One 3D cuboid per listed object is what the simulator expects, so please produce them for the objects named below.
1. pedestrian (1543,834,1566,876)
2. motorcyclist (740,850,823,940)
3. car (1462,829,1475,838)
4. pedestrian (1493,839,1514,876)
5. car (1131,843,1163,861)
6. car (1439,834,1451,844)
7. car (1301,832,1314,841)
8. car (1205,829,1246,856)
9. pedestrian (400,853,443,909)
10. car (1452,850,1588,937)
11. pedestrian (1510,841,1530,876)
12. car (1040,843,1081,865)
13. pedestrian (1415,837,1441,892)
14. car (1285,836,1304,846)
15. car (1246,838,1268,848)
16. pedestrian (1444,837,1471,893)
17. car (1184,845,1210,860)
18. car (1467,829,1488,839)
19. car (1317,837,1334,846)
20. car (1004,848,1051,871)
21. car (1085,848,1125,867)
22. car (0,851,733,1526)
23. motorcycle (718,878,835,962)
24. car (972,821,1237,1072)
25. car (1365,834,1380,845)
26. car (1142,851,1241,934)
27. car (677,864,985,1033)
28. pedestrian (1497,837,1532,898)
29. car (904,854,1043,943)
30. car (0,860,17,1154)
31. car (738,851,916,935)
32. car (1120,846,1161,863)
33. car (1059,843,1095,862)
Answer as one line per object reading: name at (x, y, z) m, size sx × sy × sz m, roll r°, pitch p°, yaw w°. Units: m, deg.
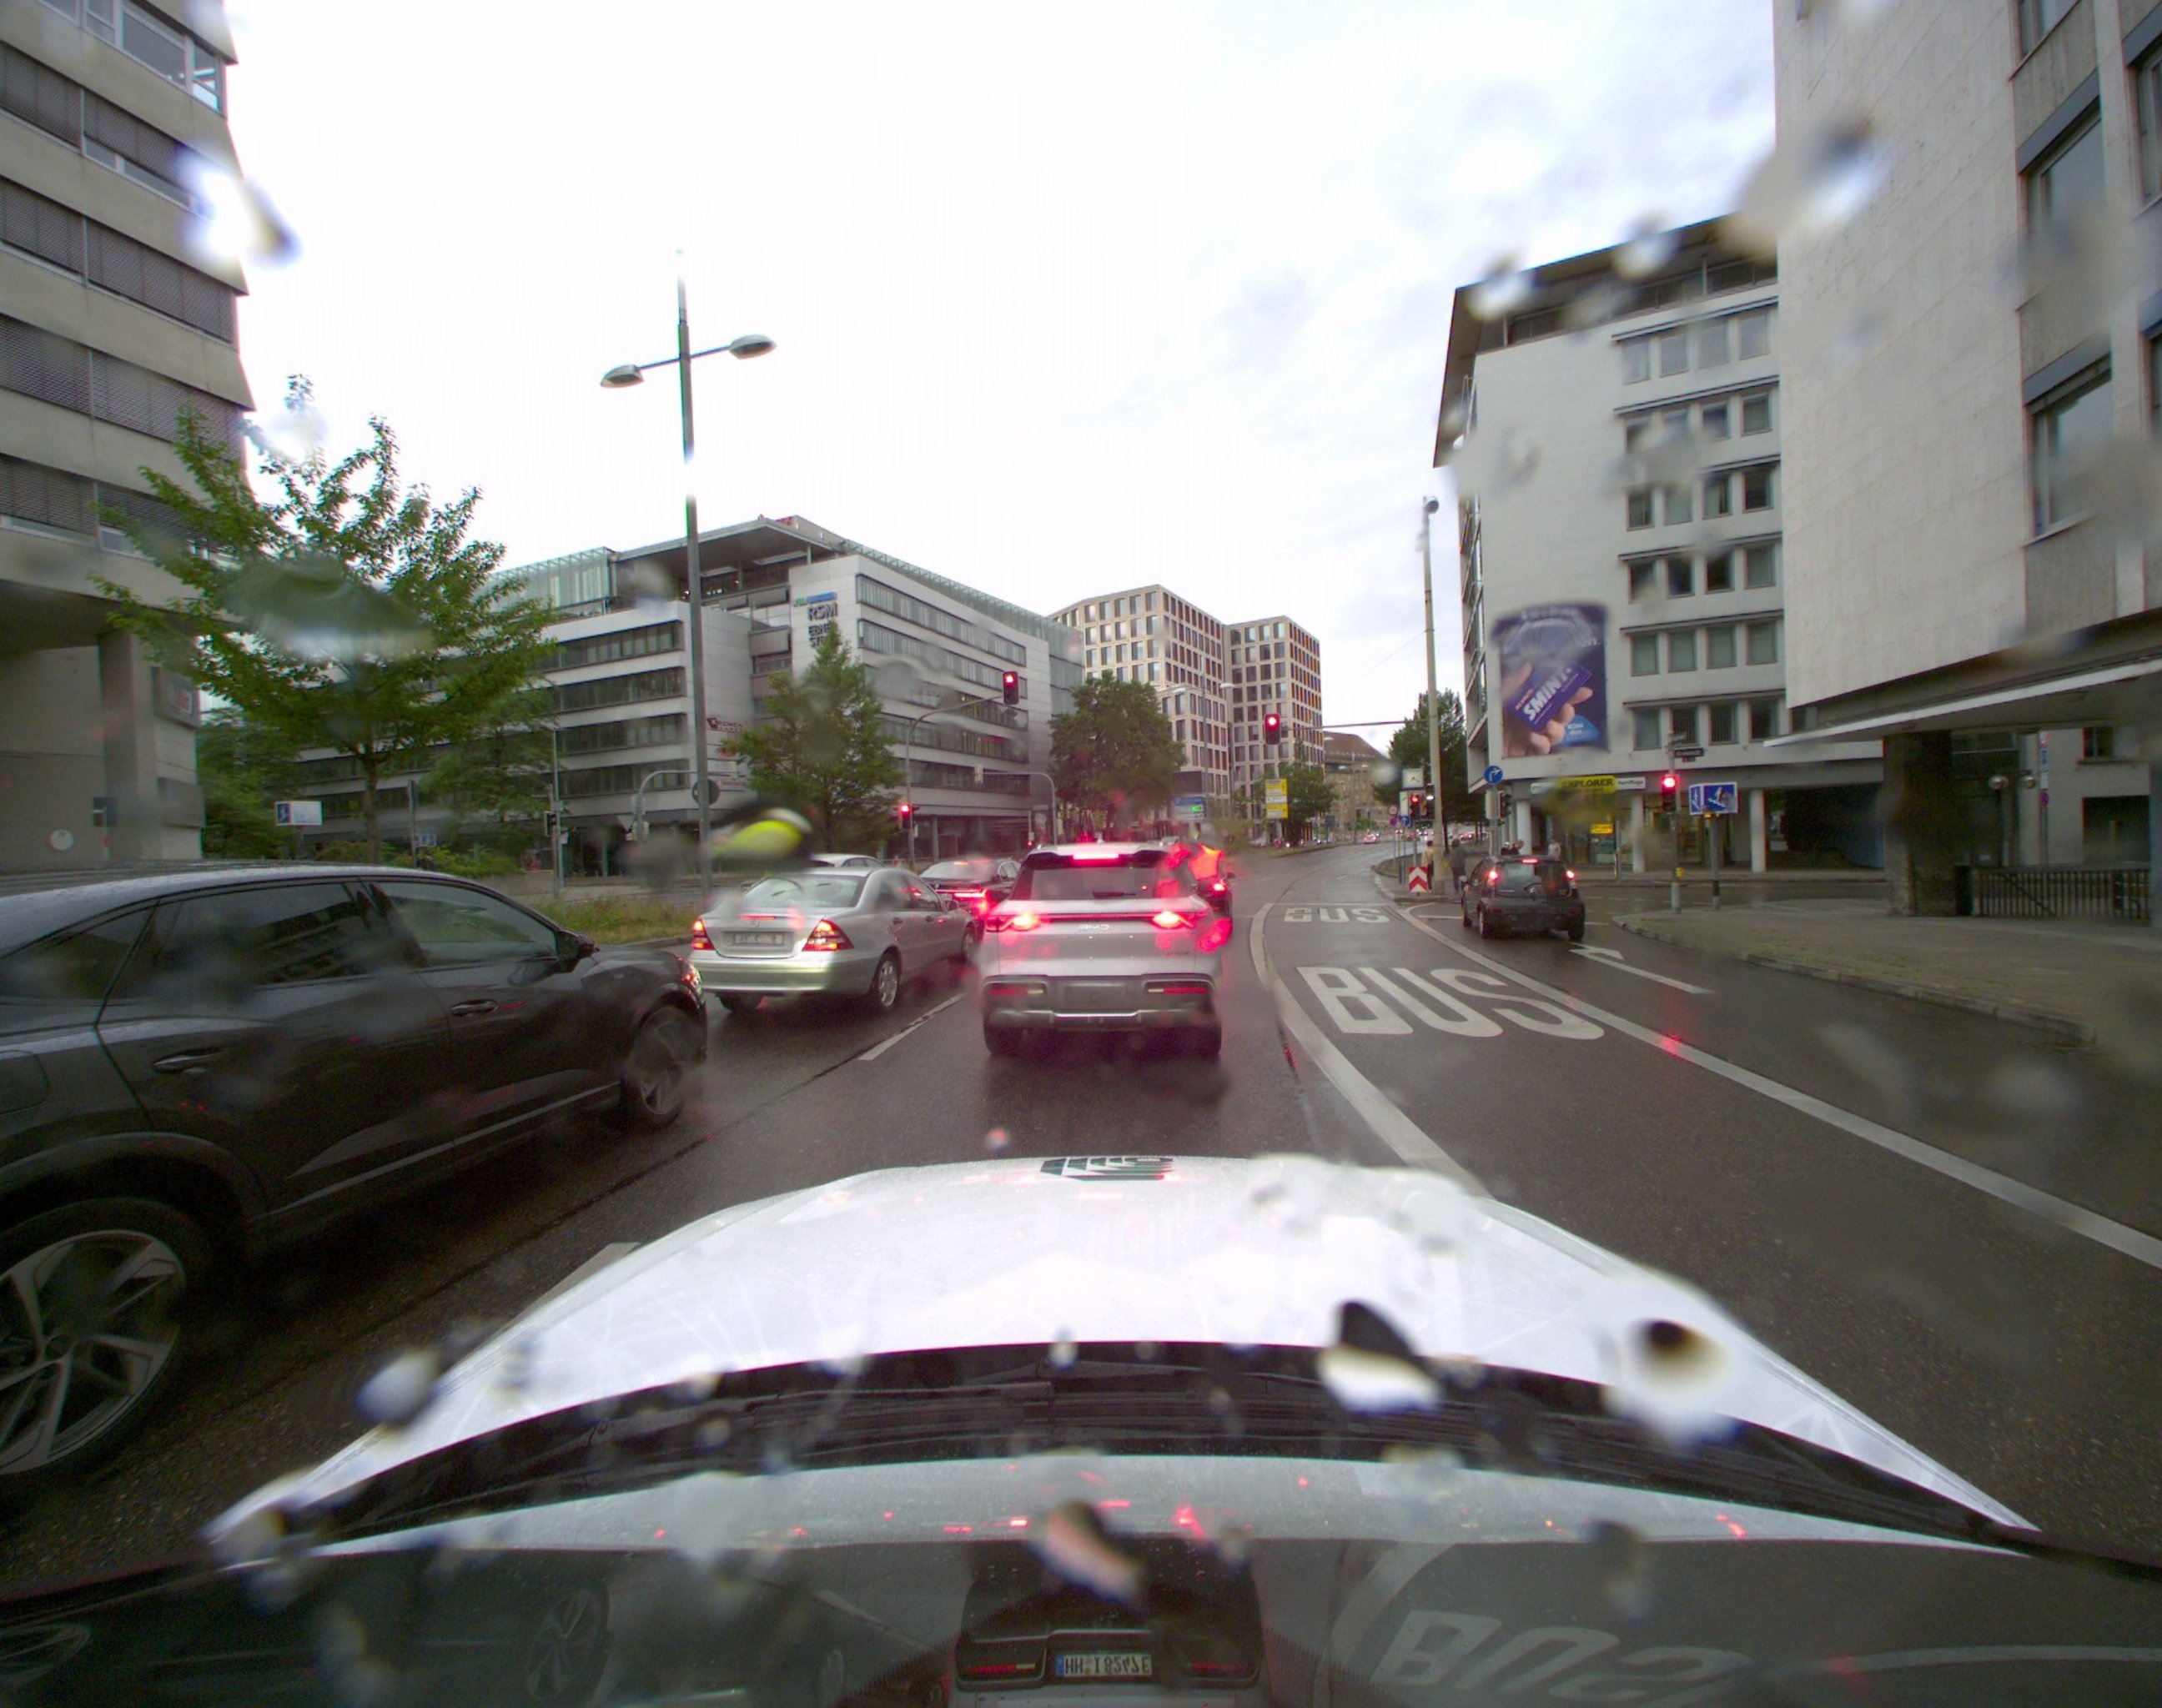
pedestrian at (20.505, 0.047, 35.259) m, size 0.778 × 1.794 × 0.662 m, roll -1°, pitch 0°, yaw -45°
motorcyclist at (-4.765, 0.629, 13.009) m, size 0.765 × 1.380 × 1.122 m, roll -1°, pitch -1°, yaw 11°
car at (70.789, -3.749, 148.900) m, size 1.677 × 1.486 × 4.025 m, roll -1°, pitch -1°, yaw 32°
pedestrian at (18.974, 0.143, 36.581) m, size 0.657 × 1.655 × 0.662 m, roll -1°, pitch 0°, yaw -45°
car at (6.036, -0.200, 74.547) m, size 1.629 × 1.581 × 4.109 m, roll -1°, pitch 0°, yaw 23°
car at (77.565, -3.236, 173.532) m, size 2.405 × 2.013 × 4.603 m, roll -1°, pitch 0°, yaw 24°
car at (45.338, -3.540, 162.837) m, size 1.590 × 1.741 × 3.467 m, roll -1°, pitch -1°, yaw 34°
car at (11.573, -0.873, 64.929) m, size 1.975 × 2.014 × 4.876 m, roll -1°, pitch -1°, yaw 25°
pedestrian at (-20.229, 0.819, 24.990) m, size 0.672 × 1.683 × 0.766 m, roll -1°, pitch 0°, yaw 15°
car at (8.169, 0.669, 15.483) m, size 1.558 × 1.429 × 4.018 m, roll -1°, pitch -1°, yaw 18°
pedestrian at (19.469, 0.187, 36.100) m, size 0.657 × 1.543 × 0.618 m, roll -1°, pitch 0°, yaw -45°
car at (-1.448, -0.020, 59.630) m, size 1.630 × 1.536 × 4.172 m, roll -1°, pitch 0°, yaw 18°
pedestrian at (11.564, 0.348, 27.176) m, size 0.742 × 1.798 × 0.821 m, roll -1°, pitch 1°, yaw 22°
car at (34.286, -2.063, 130.503) m, size 1.974 × 1.488 × 4.025 m, roll -1°, pitch 1°, yaw 29°
car at (26.449, -1.662, 122.364) m, size 1.974 × 1.488 × 4.025 m, roll -1°, pitch 1°, yaw 29°
pedestrian at (12.282, 0.342, 26.595) m, size 0.742 × 1.798 × 0.821 m, roll -1°, pitch 1°, yaw 22°
car at (13.462, -0.165, 94.034) m, size 1.616 × 1.559 × 4.620 m, roll -1°, pitch 1°, yaw 25°
car at (87.559, -4.437, 179.750) m, size 3.949 × 2.013 × 2.012 m, roll -1°, pitch 0°, yaw 28°
car at (41.707, -2.181, 138.876) m, size 1.974 × 1.488 × 4.025 m, roll -1°, pitch 1°, yaw 29°
car at (-4.045, 0.390, 62.140) m, size 1.976 × 1.610 × 4.022 m, roll -1°, pitch 0°, yaw 22°
car at (1.799, 0.262, 59.176) m, size 1.675 × 1.385 × 3.888 m, roll -1°, pitch -1°, yaw 21°
car at (-3.218, 0.760, 3.269) m, size 1.642 × 1.521 × 4.274 m, roll -1°, pitch 0°, yaw 2°
motorcycle at (-4.791, 1.001, 12.995) m, size 0.795 × 1.185 × 2.034 m, roll -1°, pitch -1°, yaw 11°
car at (0.288, 0.639, 7.491) m, size 1.768 × 1.679 × 4.004 m, roll -1°, pitch -1°, yaw 4°
car at (45.831, -2.245, 127.970) m, size 1.871 × 1.643 × 4.023 m, roll -1°, pitch 0°, yaw 24°
car at (2.380, 0.711, 16.712) m, size 1.682 × 1.486 × 4.013 m, roll -1°, pitch -1°, yaw 12°
car at (-2.426, 0.840, 9.072) m, size 1.561 × 1.407 × 4.120 m, roll -1°, pitch -1°, yaw 10°
pedestrian at (12.551, 0.388, 23.608) m, size 0.764 × 1.731 × 0.599 m, roll -1°, pitch 0°, yaw 16°
car at (-1.920, 0.771, 15.698) m, size 1.561 × 1.486 × 4.010 m, roll -1°, pitch -1°, yaw 9°
car at (-6.535, 0.820, 1.893) m, size 1.860 × 1.533 × 4.775 m, roll -1°, pitch 0°, yaw -1°
car at (-4.958, 0.707, 16.528) m, size 1.696 × 1.486 × 4.013 m, roll -1°, pitch -1°, yaw 11°
car at (5.987, 0.036, 81.364) m, size 1.796 × 1.510 × 5.229 m, roll -1°, pitch 1°, yaw 31°
car at (-0.350, -0.128, 69.282) m, size 1.623 × 1.571 × 3.740 m, roll -1°, pitch -1°, yaw 24°
